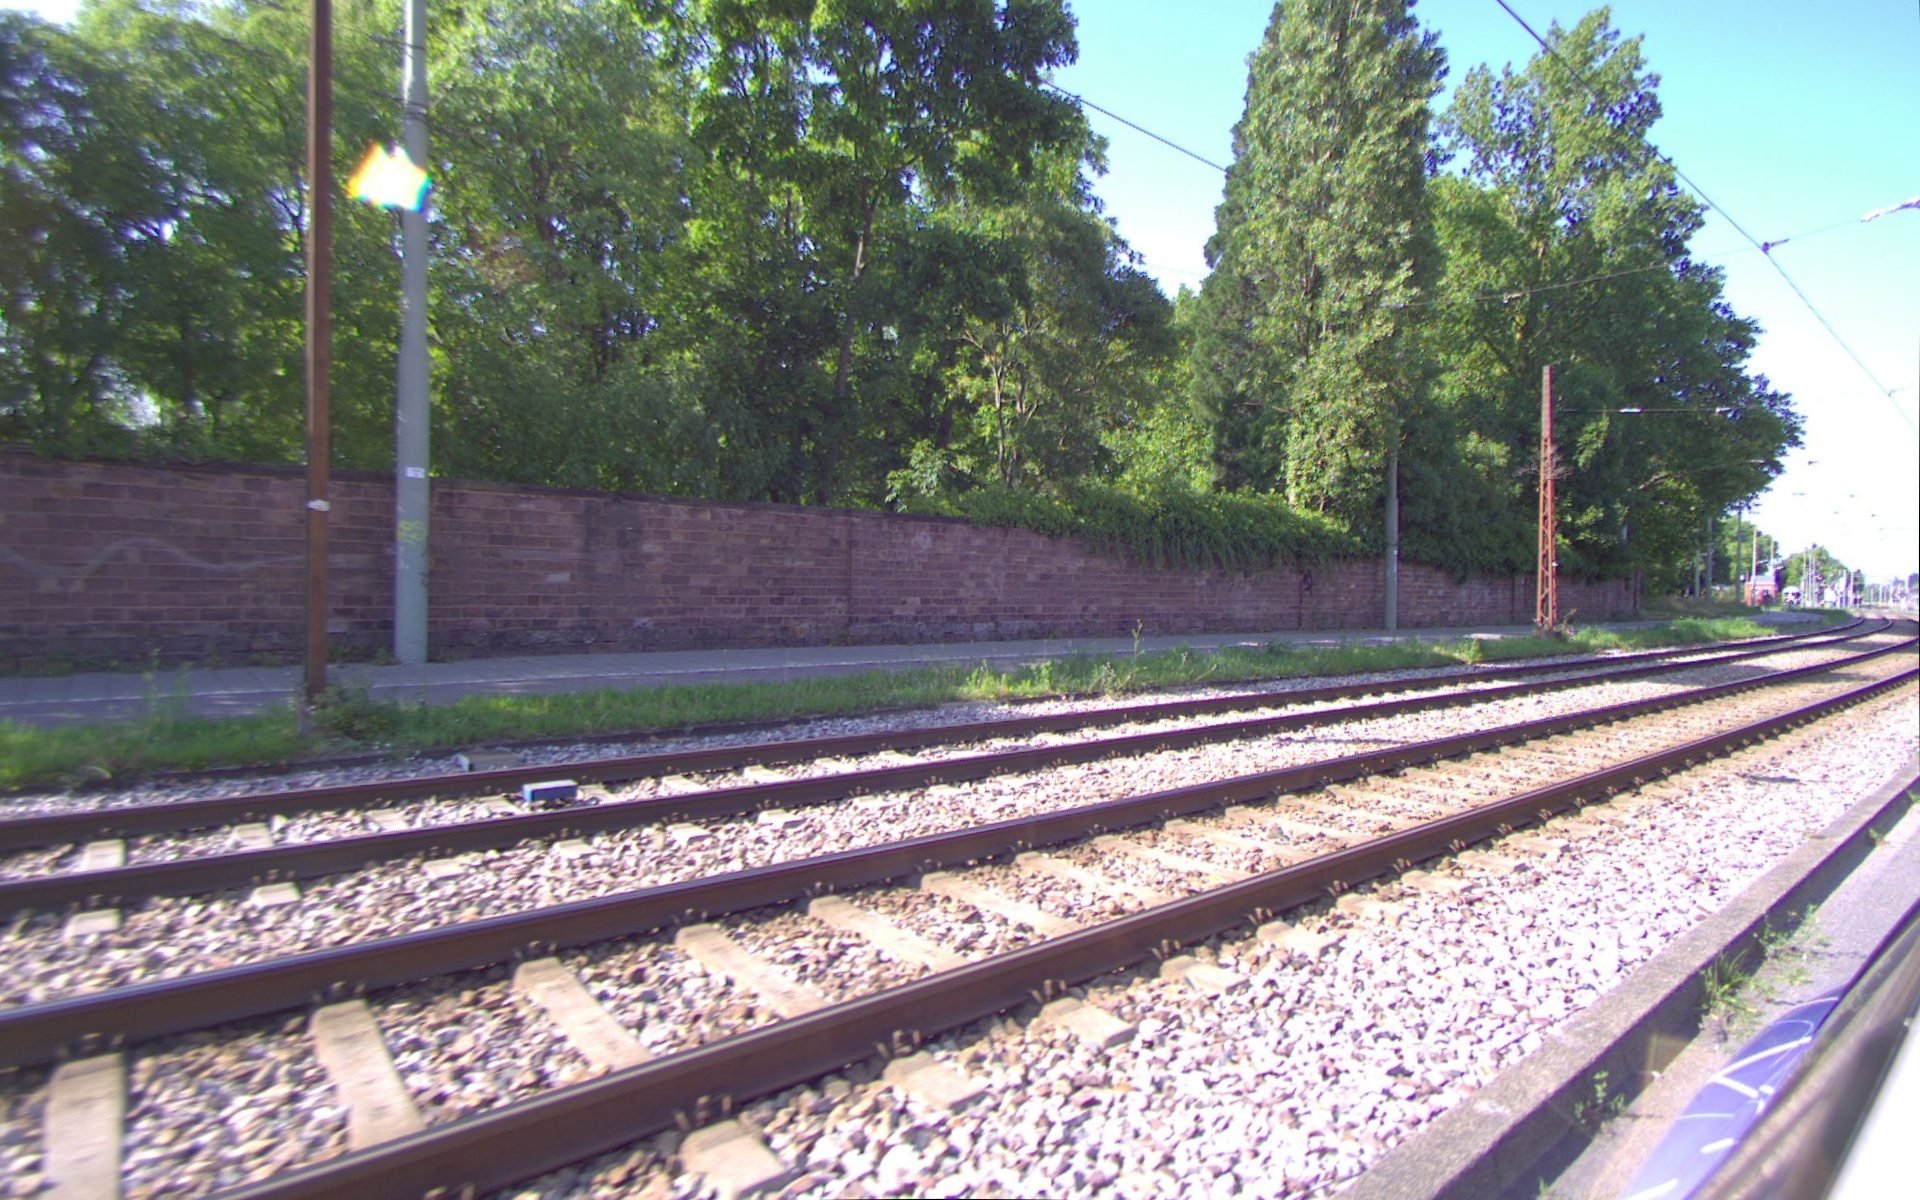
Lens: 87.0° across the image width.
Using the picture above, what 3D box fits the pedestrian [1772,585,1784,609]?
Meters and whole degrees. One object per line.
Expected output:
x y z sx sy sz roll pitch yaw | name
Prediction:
59.679 -0.242 73.838 0.869 1.737 0.501 1 1 -39 | pedestrian
